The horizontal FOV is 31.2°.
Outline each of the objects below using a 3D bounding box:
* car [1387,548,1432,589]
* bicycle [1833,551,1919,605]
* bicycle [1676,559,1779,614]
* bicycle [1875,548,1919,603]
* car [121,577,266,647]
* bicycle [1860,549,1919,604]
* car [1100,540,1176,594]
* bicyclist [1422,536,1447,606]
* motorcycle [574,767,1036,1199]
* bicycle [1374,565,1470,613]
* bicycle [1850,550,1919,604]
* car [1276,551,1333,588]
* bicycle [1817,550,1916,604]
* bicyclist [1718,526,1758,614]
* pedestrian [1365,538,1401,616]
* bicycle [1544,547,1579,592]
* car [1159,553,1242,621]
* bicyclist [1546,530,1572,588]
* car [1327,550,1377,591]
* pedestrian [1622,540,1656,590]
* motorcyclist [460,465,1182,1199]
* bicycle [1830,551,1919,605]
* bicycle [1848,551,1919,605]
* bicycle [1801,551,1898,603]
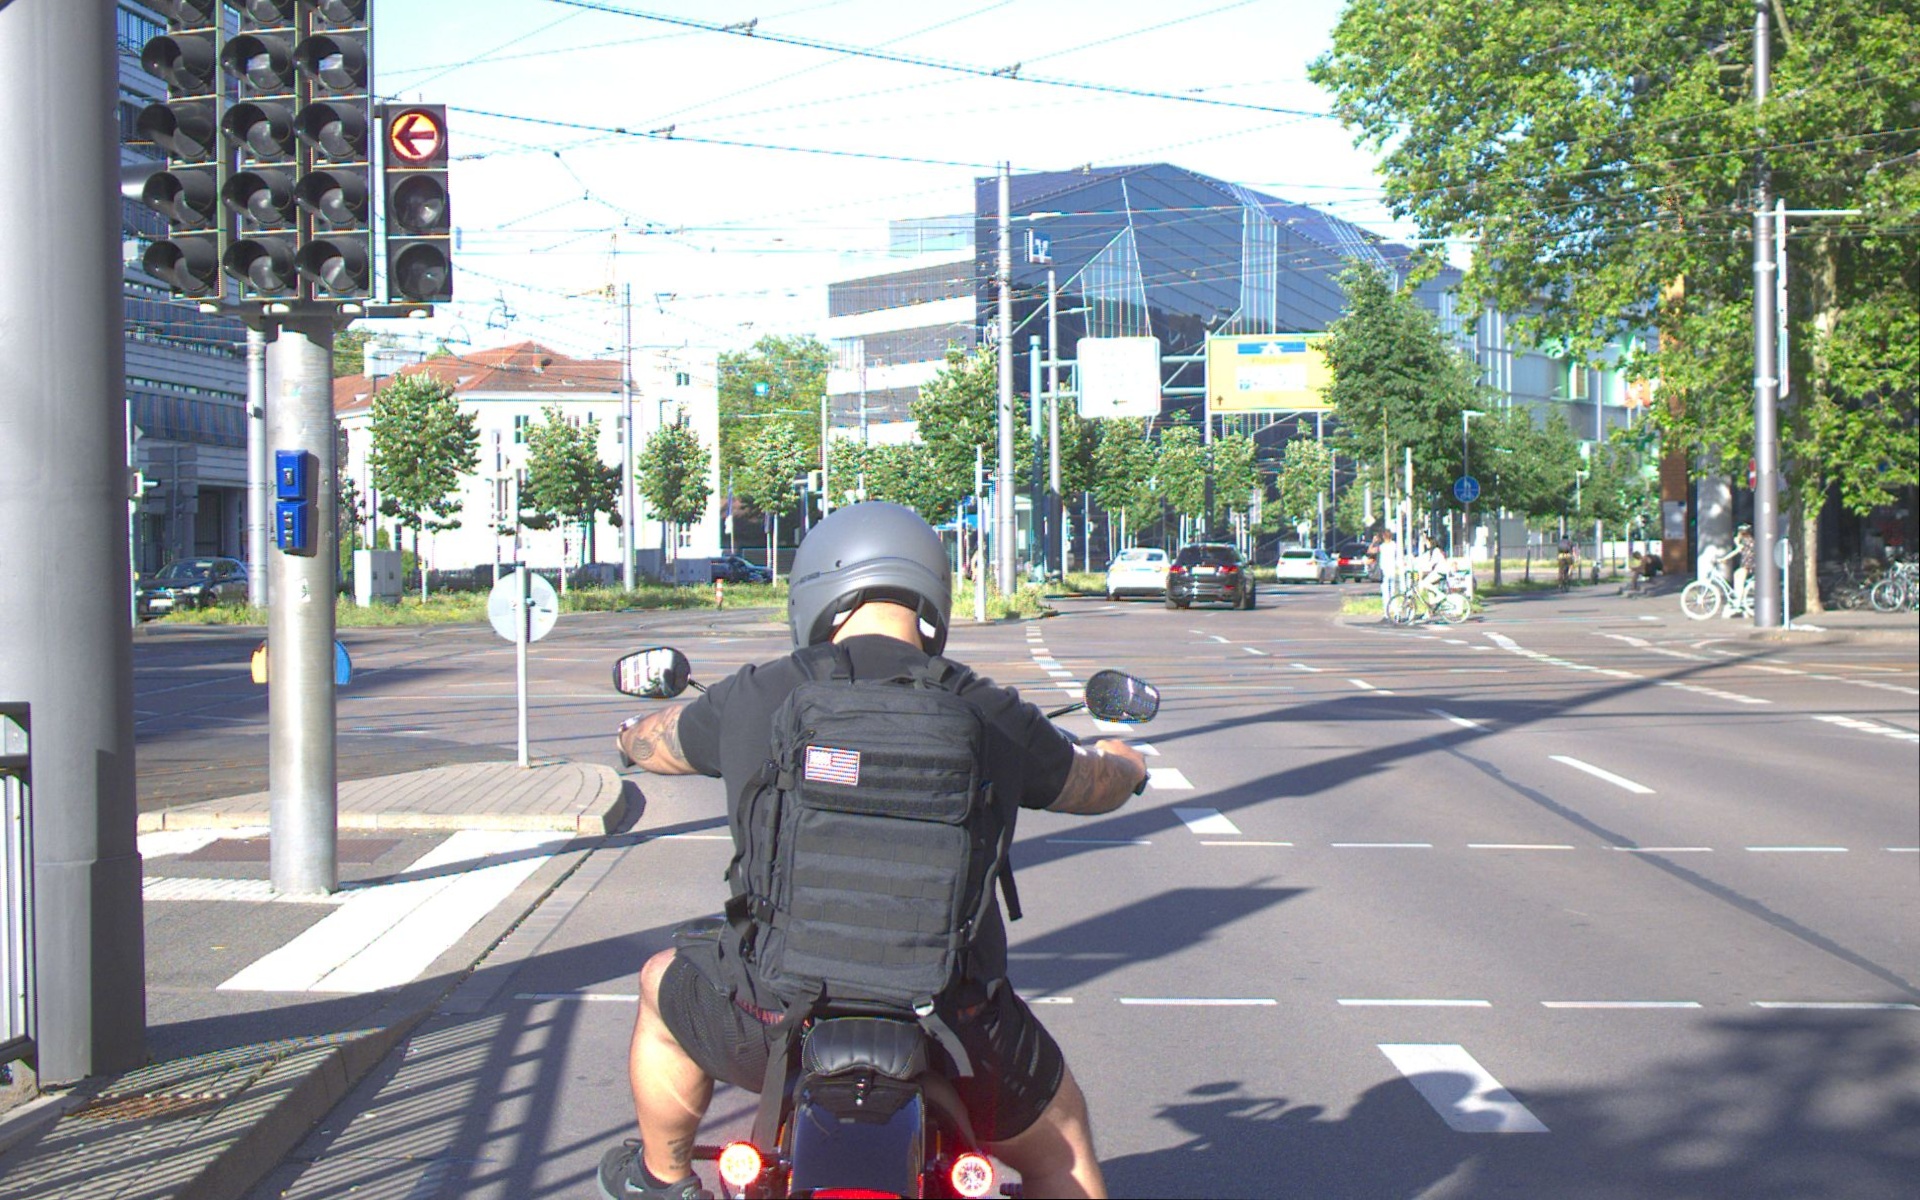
[{"bbox_3d":[20.420,-1.425,156.187,1.730,1.831,3.573,1,0,12],"label":"car"},{"bbox_3d":[18.386,-0.435,68.504,1.880,1.043,0.360,1,0,-1],"label":"bicycle"},{"bbox_3d":[14.565,-0.251,65.235,1.872,1.040,0.536,0,0,19],"label":"bicycle"},{"bbox_3d":[18.496,-0.456,65.720,1.880,1.043,0.360,1,0,-1],"label":"bicycle"},{"bbox_3d":[-17.497,0.266,78.659,1.750,1.519,3.998,1,0,11],"label":"car"},{"bbox_3d":[18.410,-0.449,66.501,1.880,1.043,0.360,1,0,-1],"label":"bicycle"},{"bbox_3d":[4.878,-0.911,93.605,1.804,1.425,4.452,0,1,6],"label":"car"},{"bbox_3d":[9.261,-0.570,67.140,0.380,1.368,0.345,1,0,-9],"label":"bicyclist"},{"bbox_3d":[-0.221,0.872,5.632,0.600,1.032,2.234,1,1,-1],"label":"motorcycle"},{"bbox_3d":[9.014,-0.215,67.115,1.825,0.922,0.358,1,0,-8],"label":"bicycle"},{"bbox_3d":[18.412,-0.440,67.316,1.880,1.043,0.360,1,0,-1],"label":"bicycle"},{"bbox_3d":[13.814,-1.247,137.724,1.804,1.425,4.451,0,1,12],"label":"car"},{"bbox_3d":[18.326,-0.460,69.490,1.880,1.043,0.360,1,1,-1],"label":"bicycle"},{"bbox_3d":[14.750,-0.567,65.172,0.688,1.667,0.540,0,0,19],"label":"bicyclist"},{"bbox_3d":[8.521,-0.470,69.255,0.587,1.551,0.489,1,0,-8],"label":"pedestrian"},{"bbox_3d":[18.498,-0.922,105.753,0.726,1.362,2.917,1,0,3],"label":"bicycle"},{"bbox_3d":[5.925,-0.334,84.382,1.804,1.590,4.452,0,1,7],"label":"car"},{"bbox_3d":[18.531,-1.265,106.308,0.697,1.802,0.728,1,0,4],"label":"bicyclist"},{"bbox_3d":[16.818,-1.242,147.356,1.804,1.672,4.039,1,0,11],"label":"car"},{"bbox_3d":[17.894,-0.916,90.642,0.819,1.309,0.637,1,0,9],"label":"pedestrian"},{"bbox_3d":[-0.202,0.596,5.374,1.030,1.588,0.873,0,1,-1],"label":"motorcyclist"},{"bbox_3d":[18.456,-0.449,68.991,1.880,1.043,0.360,1,1,-1],"label":"bicycle"},{"bbox_3d":[18.525,-0.430,67.875,1.880,1.043,0.360,1,1,-1],"label":"bicycle"},{"bbox_3d":[18.269,-0.476,70.640,1.880,1.043,0.360,1,1,-1],"label":"bicycle"}]
